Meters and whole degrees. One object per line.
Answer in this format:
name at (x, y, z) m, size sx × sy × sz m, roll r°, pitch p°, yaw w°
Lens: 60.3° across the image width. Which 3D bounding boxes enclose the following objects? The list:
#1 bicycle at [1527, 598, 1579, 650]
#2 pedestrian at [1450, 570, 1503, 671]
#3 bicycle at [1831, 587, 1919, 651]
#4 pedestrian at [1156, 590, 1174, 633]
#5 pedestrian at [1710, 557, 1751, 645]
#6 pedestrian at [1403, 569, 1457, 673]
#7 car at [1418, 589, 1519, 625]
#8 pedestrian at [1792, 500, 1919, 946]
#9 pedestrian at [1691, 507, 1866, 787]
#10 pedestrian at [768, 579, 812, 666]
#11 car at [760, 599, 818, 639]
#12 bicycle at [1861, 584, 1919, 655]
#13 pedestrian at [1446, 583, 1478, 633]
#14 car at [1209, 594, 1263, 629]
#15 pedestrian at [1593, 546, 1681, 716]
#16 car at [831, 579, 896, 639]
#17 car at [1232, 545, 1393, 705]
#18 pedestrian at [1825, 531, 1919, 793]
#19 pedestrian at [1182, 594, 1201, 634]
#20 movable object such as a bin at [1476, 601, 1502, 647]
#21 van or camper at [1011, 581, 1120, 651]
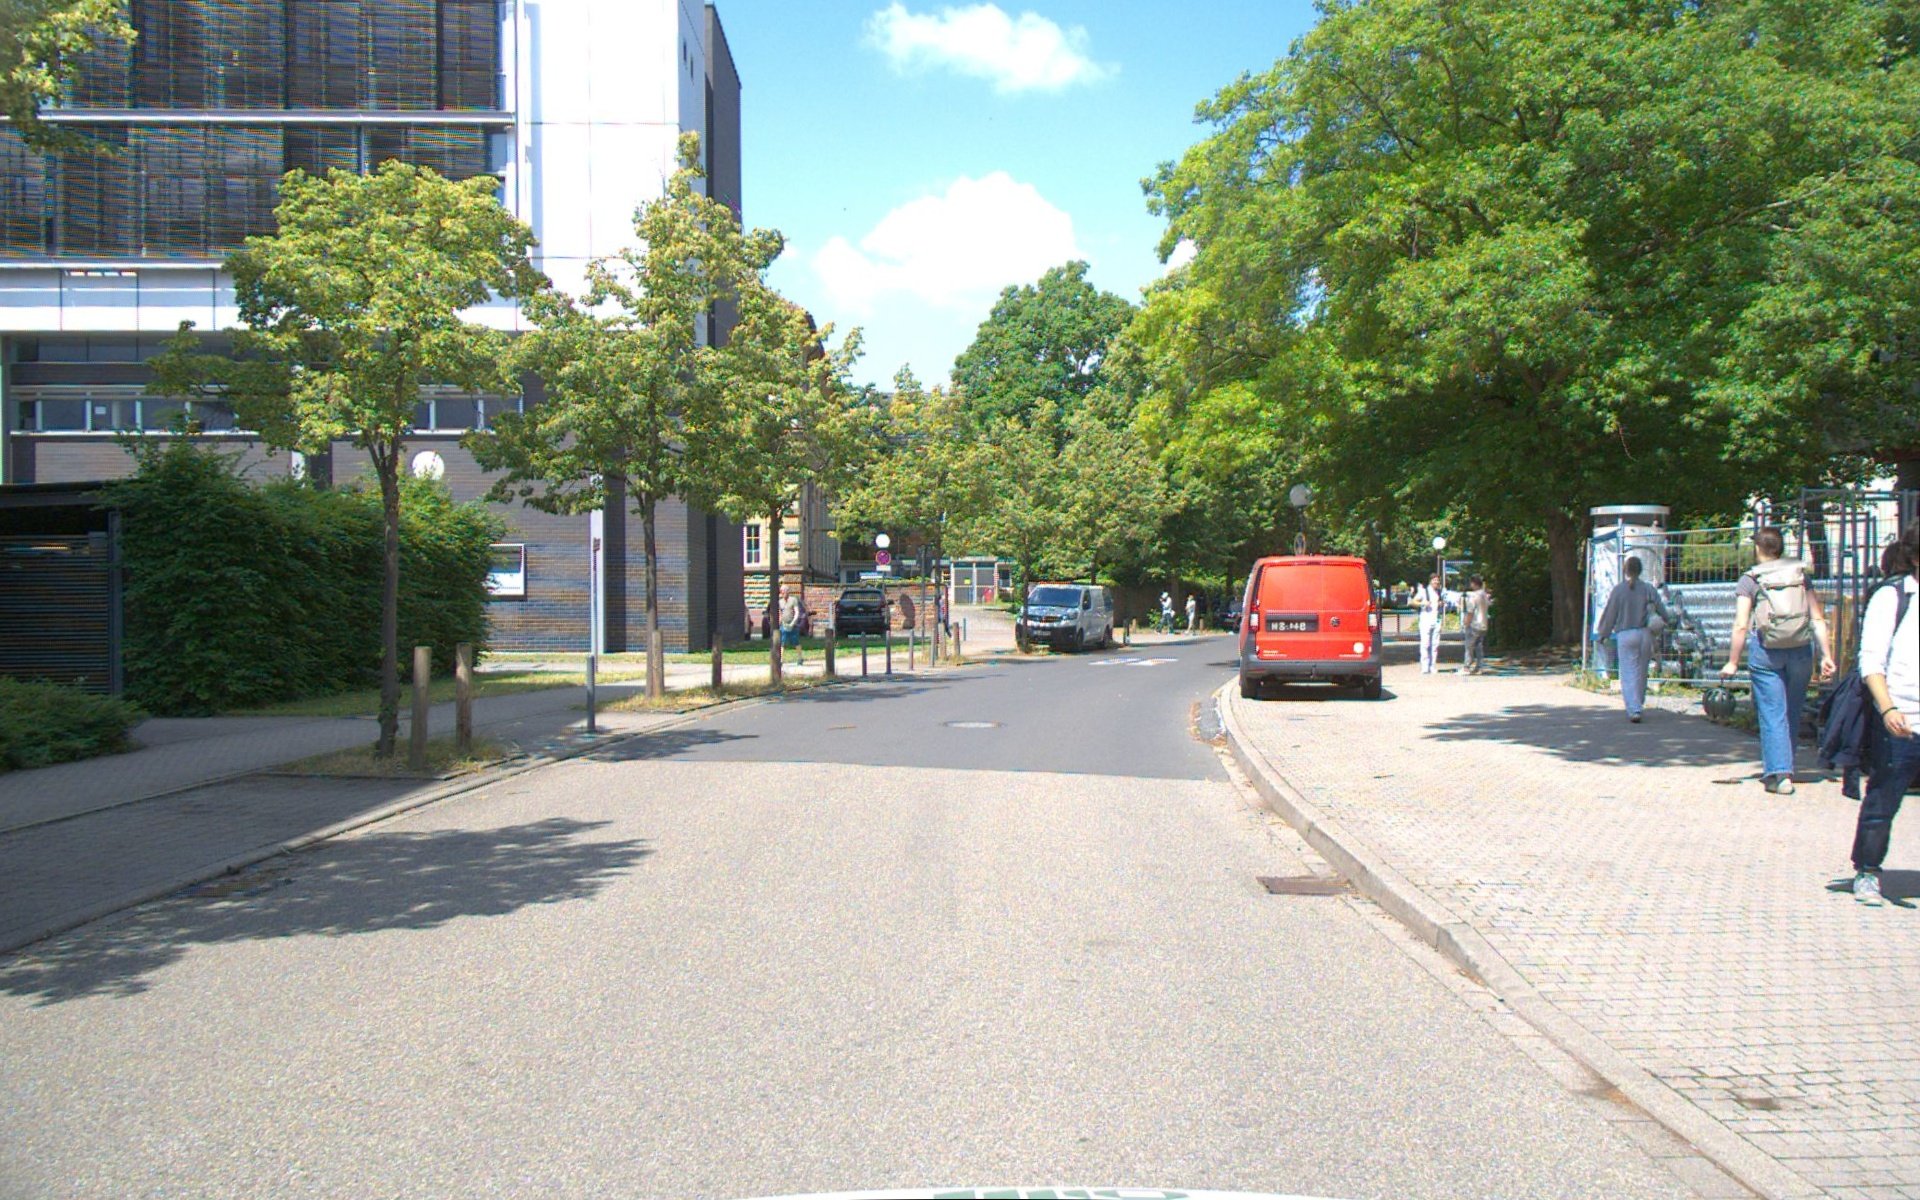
bicycle at (13.171, 0.521, 36.774) m, size 0.606 × 1.138 × 1.873 m, roll -1°, pitch 0°, yaw 4°
pedestrian at (9.049, 0.354, 28.980) m, size 0.737 × 1.740 × 0.556 m, roll 0°, pitch 0°, yaw -37°
bicycle at (14.509, 0.294, 25.721) m, size 0.505 × 0.973 × 1.797 m, roll -2°, pitch -1°, yaw -20°
pedestrian at (8.232, 0.465, 66.360) m, size 0.614 × 1.692 × 0.603 m, roll -1°, pitch 0°, yaw -1°
pedestrian at (16.497, 0.023, 35.422) m, size 0.531 × 1.869 × 0.762 m, roll -1°, pitch 0°, yaw 5°
pedestrian at (8.462, 0.368, 29.800) m, size 0.716 × 1.853 × 0.621 m, roll 0°, pitch 0°, yaw -37°
car at (23.808, 0.335, 77.381) m, size 4.393 × 1.552 × 1.811 m, roll -2°, pitch 0°, yaw 21°
pedestrian at (4.165, 0.494, 7.150) m, size 0.681 × 1.812 × 0.786 m, roll -1°, pitch 0°, yaw -4°
pedestrian at (5.432, 0.306, 11.019) m, size 0.832 × 1.795 × 0.716 m, roll -1°, pitch 0°, yaw 7°
pedestrian at (-3.562, 0.462, 34.739) m, size 0.572 × 1.795 × 0.911 m, roll -1°, pitch 0°, yaw 20°
car at (-5.882, 0.631, 57.223) m, size 1.781 × 1.347 × 3.766 m, roll -1°, pitch 0°, yaw -2°
bicycle at (15.057, 0.303, 25.855) m, size 0.491 × 1.096 × 1.797 m, roll -2°, pitch -1°, yaw -20°
pedestrian at (19.650, 0.302, 64.741) m, size 0.805 × 1.782 × 0.841 m, roll -14°, pitch -5°, yaw 19°
car at (12.437, 0.499, 74.315) m, size 1.723 × 1.548 × 4.113 m, roll -1°, pitch 0°, yaw 19°
pedestrian at (6.769, 0.304, 16.555) m, size 0.697 × 1.660 × 0.712 m, roll -1°, pitch 0°, yaw 14°
car at (-3.357, 0.310, 57.331) m, size 2.132 × 1.959 × 5.182 m, roll -1°, pitch 0°, yaw -3°
car at (4.692, 0.295, 22.617) m, size 1.809 × 1.924 × 4.894 m, roll -1°, pitch 0°, yaw 8°
pedestrian at (6.205, 0.379, 10.779) m, size 0.654 × 1.628 × 0.986 m, roll -1°, pitch 0°, yaw 5°
pedestrian at (9.169, 0.544, 65.446) m, size 0.580 × 1.553 × 0.487 m, roll 0°, pitch 0°, yaw -38°
movable object such as a bin at (12.714, 0.563, 39.746) m, size 0.479 × 1.091 × 0.505 m, roll -1°, pitch 0°, yaw 6°
van or camper at (3.222, 0.423, 49.261) m, size 1.912 × 1.957 × 5.422 m, roll 1°, pitch 0°, yaw 18°
